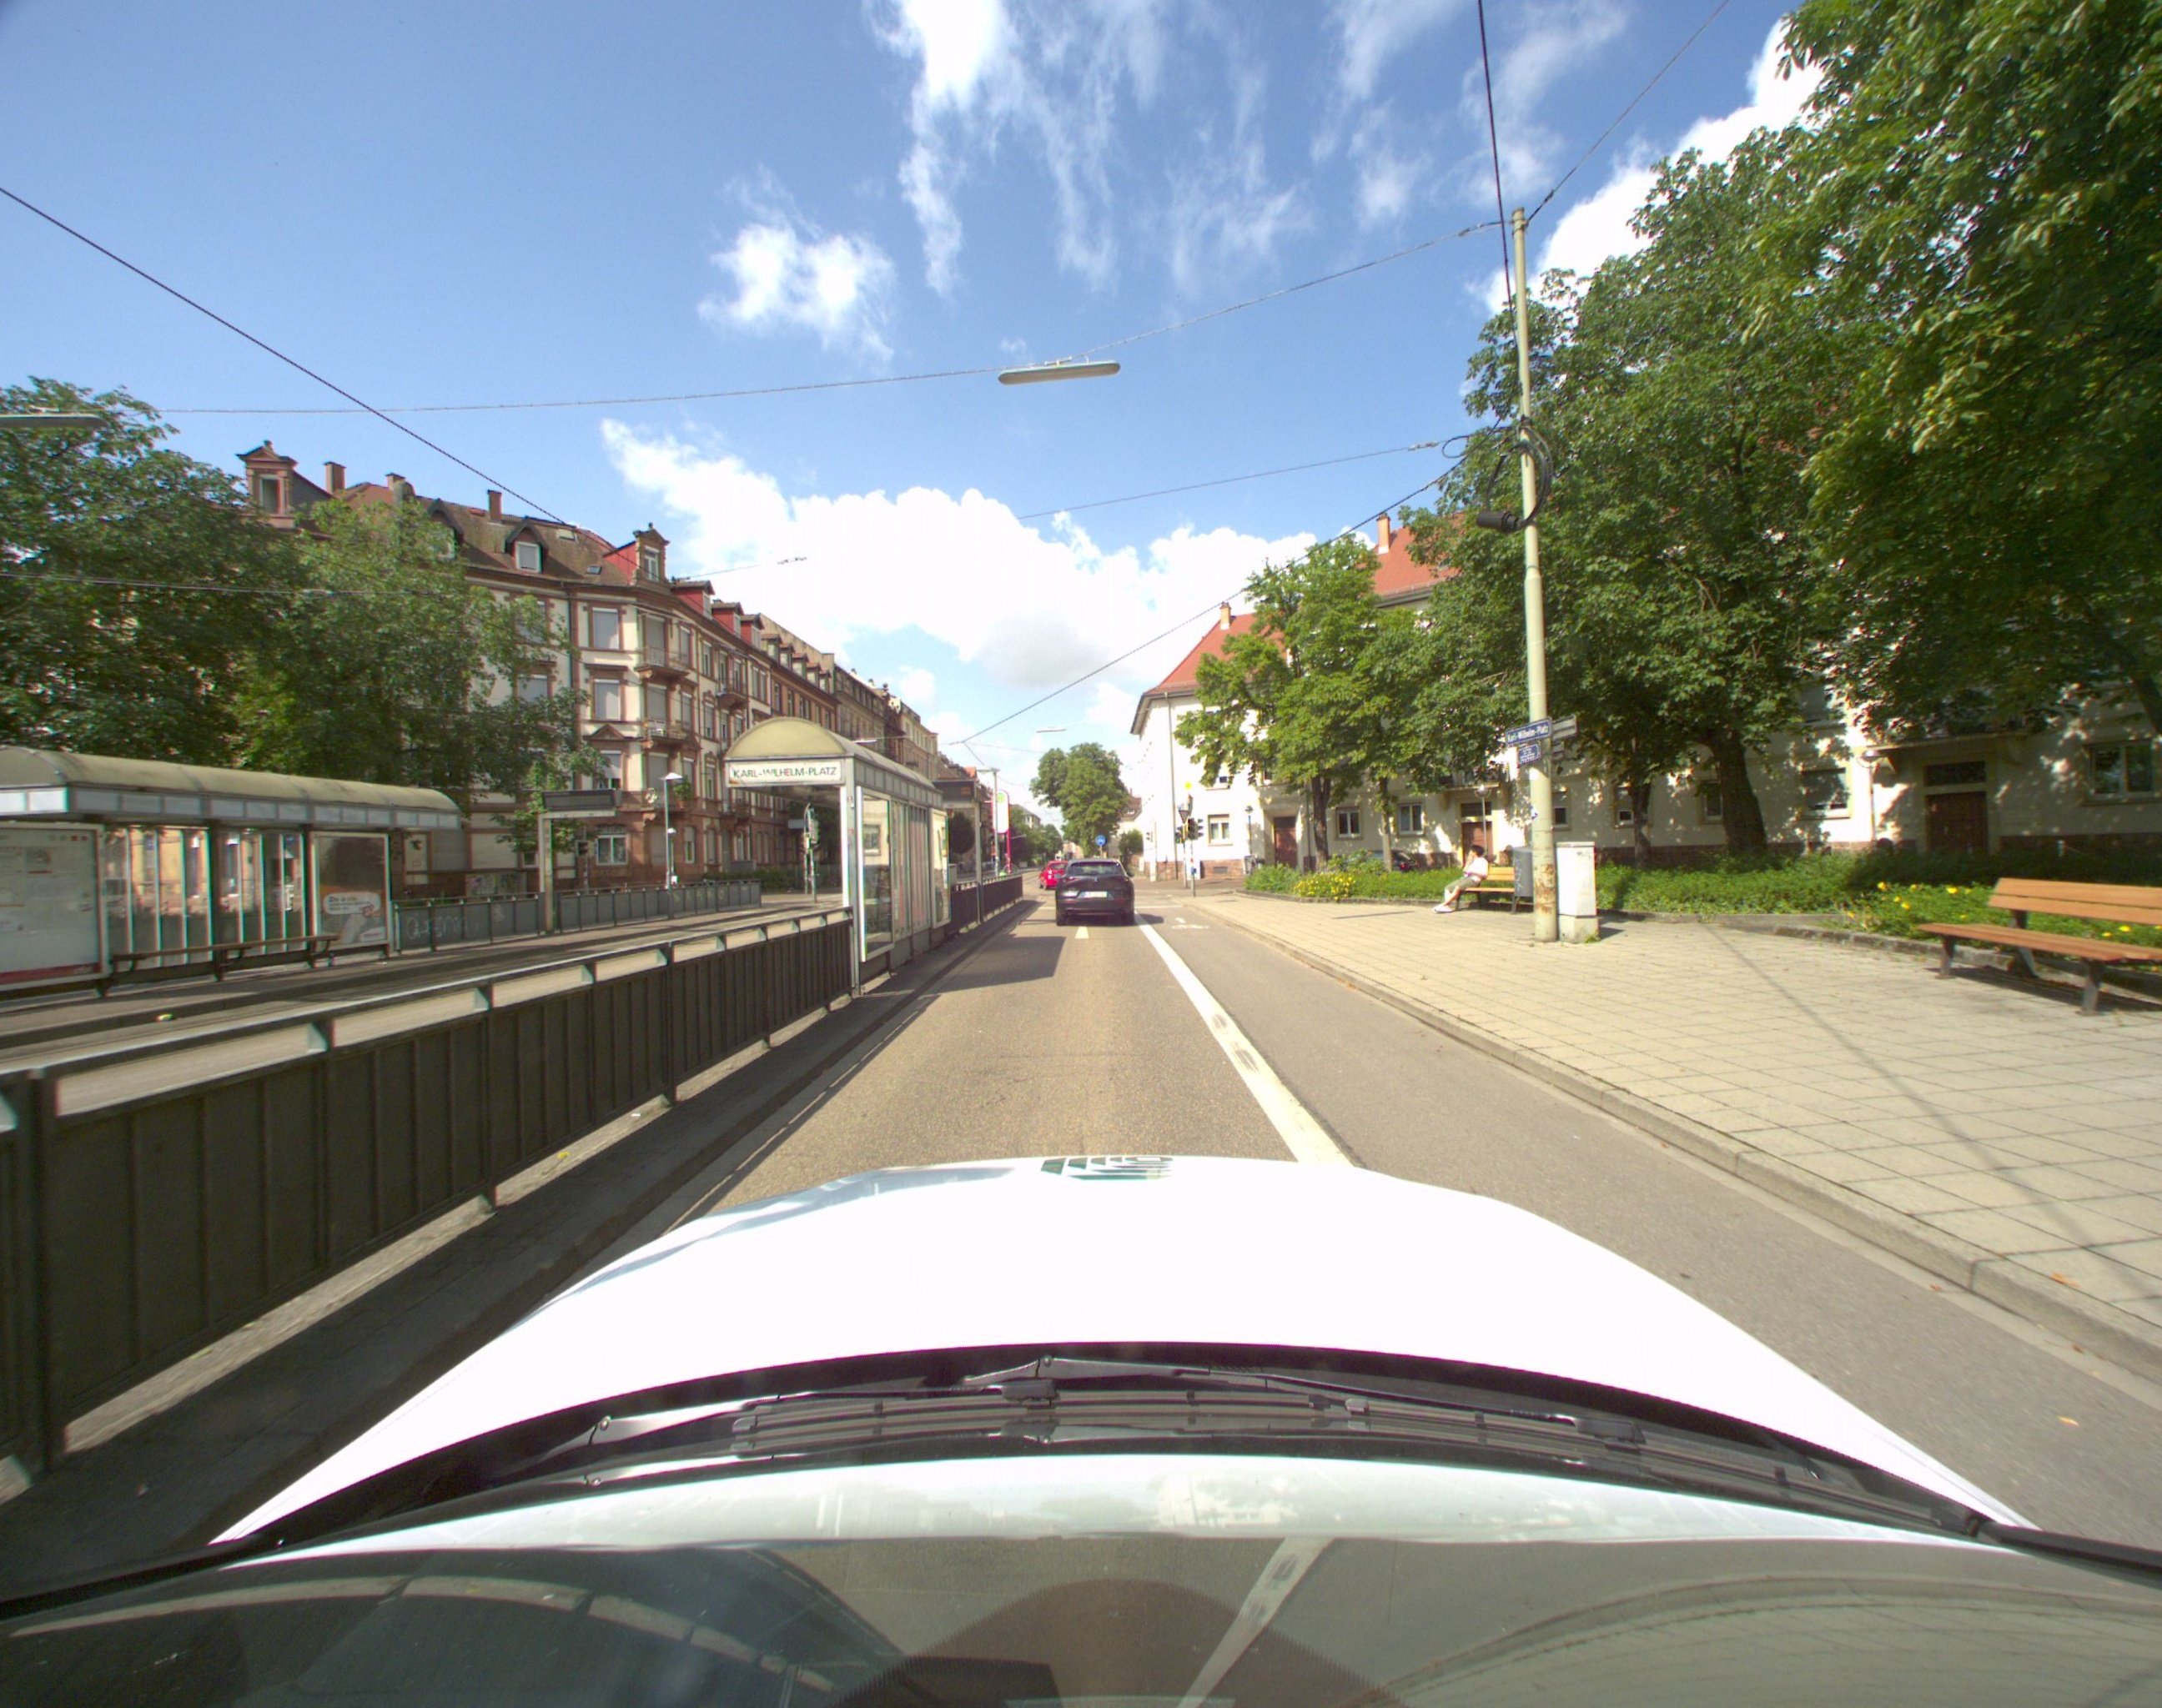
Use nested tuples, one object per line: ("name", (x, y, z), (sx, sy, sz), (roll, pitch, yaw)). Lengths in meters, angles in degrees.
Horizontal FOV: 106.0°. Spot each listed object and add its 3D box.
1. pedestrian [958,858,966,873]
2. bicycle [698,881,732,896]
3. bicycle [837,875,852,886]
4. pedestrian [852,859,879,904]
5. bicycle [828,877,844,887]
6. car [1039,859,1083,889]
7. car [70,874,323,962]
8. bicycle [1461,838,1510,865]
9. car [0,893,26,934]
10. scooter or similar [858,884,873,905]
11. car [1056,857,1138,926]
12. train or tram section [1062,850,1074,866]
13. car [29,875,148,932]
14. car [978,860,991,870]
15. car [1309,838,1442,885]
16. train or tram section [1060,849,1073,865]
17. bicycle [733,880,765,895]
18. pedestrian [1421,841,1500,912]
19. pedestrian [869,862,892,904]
("pedestrian", (-13.642, 1.307, 93.486), (0.784, 1.688, 0.732), (-2, 0, 2))
("bicycle", (-20.084, 1.884, 44.725), (0.381, 0.747, 1.722), (-2, 0, 37))
("bicycle", (-16.496, 1.838, 56.898), (0.383, 0.677, 1.713), (-2, 0, 5))
("pedestrian", (-8.225, 1.049, 31.075), (0.768, 1.674, 0.668), (-2, 0, 0))
("bicycle", (-16.476, 1.871, 54.690), (0.383, 0.653, 1.713), (-2, 0, 5))
("car", (-1.080, 0.976, 41.570), (1.775, 1.464, 3.830), (0, 0, -9))
("car", (-21.172, 1.450, 19.773), (1.674, 1.777, 4.001), (-2, 0, 1))
("bicycle", (16.841, -0.092, 33.929), (0.569, 1.020, 1.734), (-4, 1, -36))
("car", (-47.036, 2.570, 34.478), (3.893, 1.663, 1.927), (-2, 0, 23))
("scooter or similar", (-8.055, 1.508, 30.463), (0.412, 0.721, 0.486), (-2, 0, 0))
("car", (0.304, 0.828, 19.659), (1.777, 1.514, 3.998), (0, 0, -1))
("train or tram section", (-3.519, 1.157, 224.495), (2.987, 3.983, 13.808), (-2, -1, 1))
("car", (-37.807, 1.872, 31.031), (3.899, 1.988, 1.867), (-2, 0, 24))
("car", (-16.009, 1.766, 135.561), (1.651, 1.596, 3.929), (-2, 0, 0))
("car", (10.736, 0.300, 29.877), (4.119, 1.510, 1.863), (-2, 1, 43))
("train or tram section", (-3.693, 0.892, 210.788), (2.987, 3.983, 13.808), (-2, -1, 1))
("bicycle", (-18.895, 1.898, 46.354), (0.381, 0.747, 1.722), (-2, 0, 37))
("pedestrian", (7.377, 0.438, 15.857), (1.190, 1.269, 0.557), (-4, 0, -4))
("pedestrian", (-7.522, 1.083, 30.513), (0.665, 1.546, 0.581), (-2, 0, 0))
